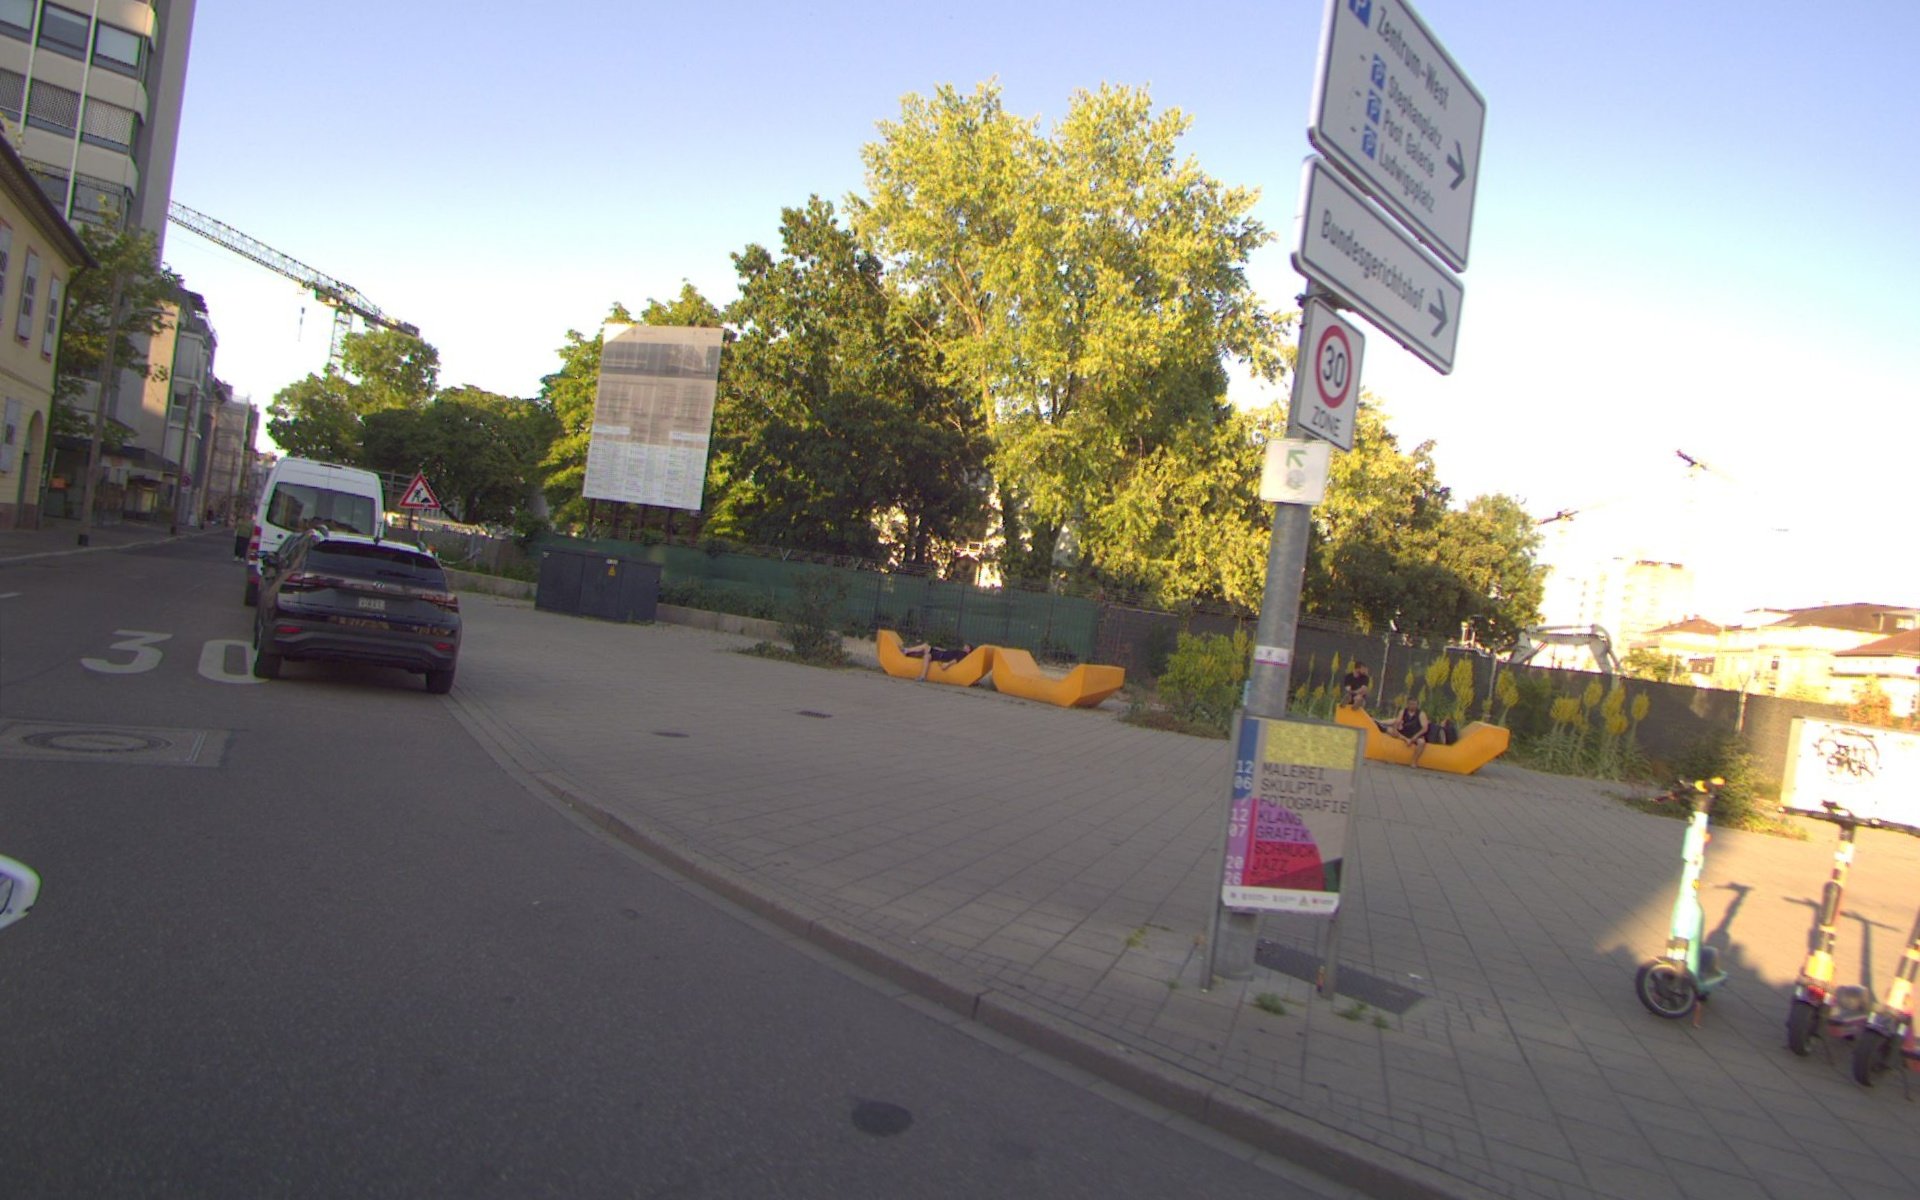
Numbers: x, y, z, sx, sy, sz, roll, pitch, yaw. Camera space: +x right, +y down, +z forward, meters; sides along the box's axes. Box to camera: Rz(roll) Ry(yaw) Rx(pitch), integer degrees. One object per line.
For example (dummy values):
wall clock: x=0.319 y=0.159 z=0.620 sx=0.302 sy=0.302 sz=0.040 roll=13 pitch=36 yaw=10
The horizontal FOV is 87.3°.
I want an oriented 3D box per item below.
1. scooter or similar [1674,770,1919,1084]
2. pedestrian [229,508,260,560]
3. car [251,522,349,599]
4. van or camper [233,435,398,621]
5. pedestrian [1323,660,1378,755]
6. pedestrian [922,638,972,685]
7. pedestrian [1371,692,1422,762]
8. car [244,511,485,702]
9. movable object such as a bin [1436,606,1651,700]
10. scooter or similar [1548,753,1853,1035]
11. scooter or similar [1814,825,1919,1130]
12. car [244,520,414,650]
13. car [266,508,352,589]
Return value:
scooter or similar: x=4.352 y=1.592 z=5.022 sx=1.634 sy=1.308 sz=0.458 roll=8 pitch=0 yaw=-27
pedestrian: x=-24.000 y=-2.220 z=33.750 sx=0.609 sy=1.648 sz=0.811 roll=8 pitch=0 yaw=-31
car: x=-15.755 y=-0.984 z=24.106 sx=1.682 sy=1.477 sz=4.062 roll=8 pitch=-1 yaw=-33
van or camper: x=-12.473 y=-1.331 z=19.618 sx=2.063 sy=2.808 sz=6.395 roll=8 pitch=-1 yaw=-32
pedestrian: x=7.522 y=2.044 z=19.350 sx=0.750 sy=1.685 sz=0.822 roll=8 pitch=1 yaw=24
pedestrian: x=-0.284 y=1.353 z=22.310 sx=0.963 sy=0.904 sz=0.562 roll=8 pitch=0 yaw=2
pedestrian: x=8.314 y=2.399 z=19.175 sx=0.721 sy=1.171 sz=0.990 roll=8 pitch=0 yaw=23
car: x=-6.652 y=-0.036 z=11.028 sx=1.769 sy=1.562 sz=4.249 roll=8 pitch=-1 yaw=-35
movable object such as a bin: x=17.133 y=1.518 z=29.751 sx=1.986 sy=2.038 sz=4.965 roll=7 pitch=0 yaw=-41
scooter or similar: x=4.067 y=1.578 z=5.510 sx=1.509 sy=1.275 sz=0.608 roll=9 pitch=0 yaw=-27
scooter or similar: x=4.588 y=1.683 z=4.583 sx=1.388 sy=1.180 sz=0.458 roll=8 pitch=0 yaw=-27
car: x=-9.344 y=-0.308 z=14.858 sx=1.719 sy=1.446 sz=4.433 roll=8 pitch=-1 yaw=-34
car: x=-18.096 y=-1.464 z=28.010 sx=1.702 sy=1.871 sz=3.986 roll=8 pitch=-1 yaw=-33
